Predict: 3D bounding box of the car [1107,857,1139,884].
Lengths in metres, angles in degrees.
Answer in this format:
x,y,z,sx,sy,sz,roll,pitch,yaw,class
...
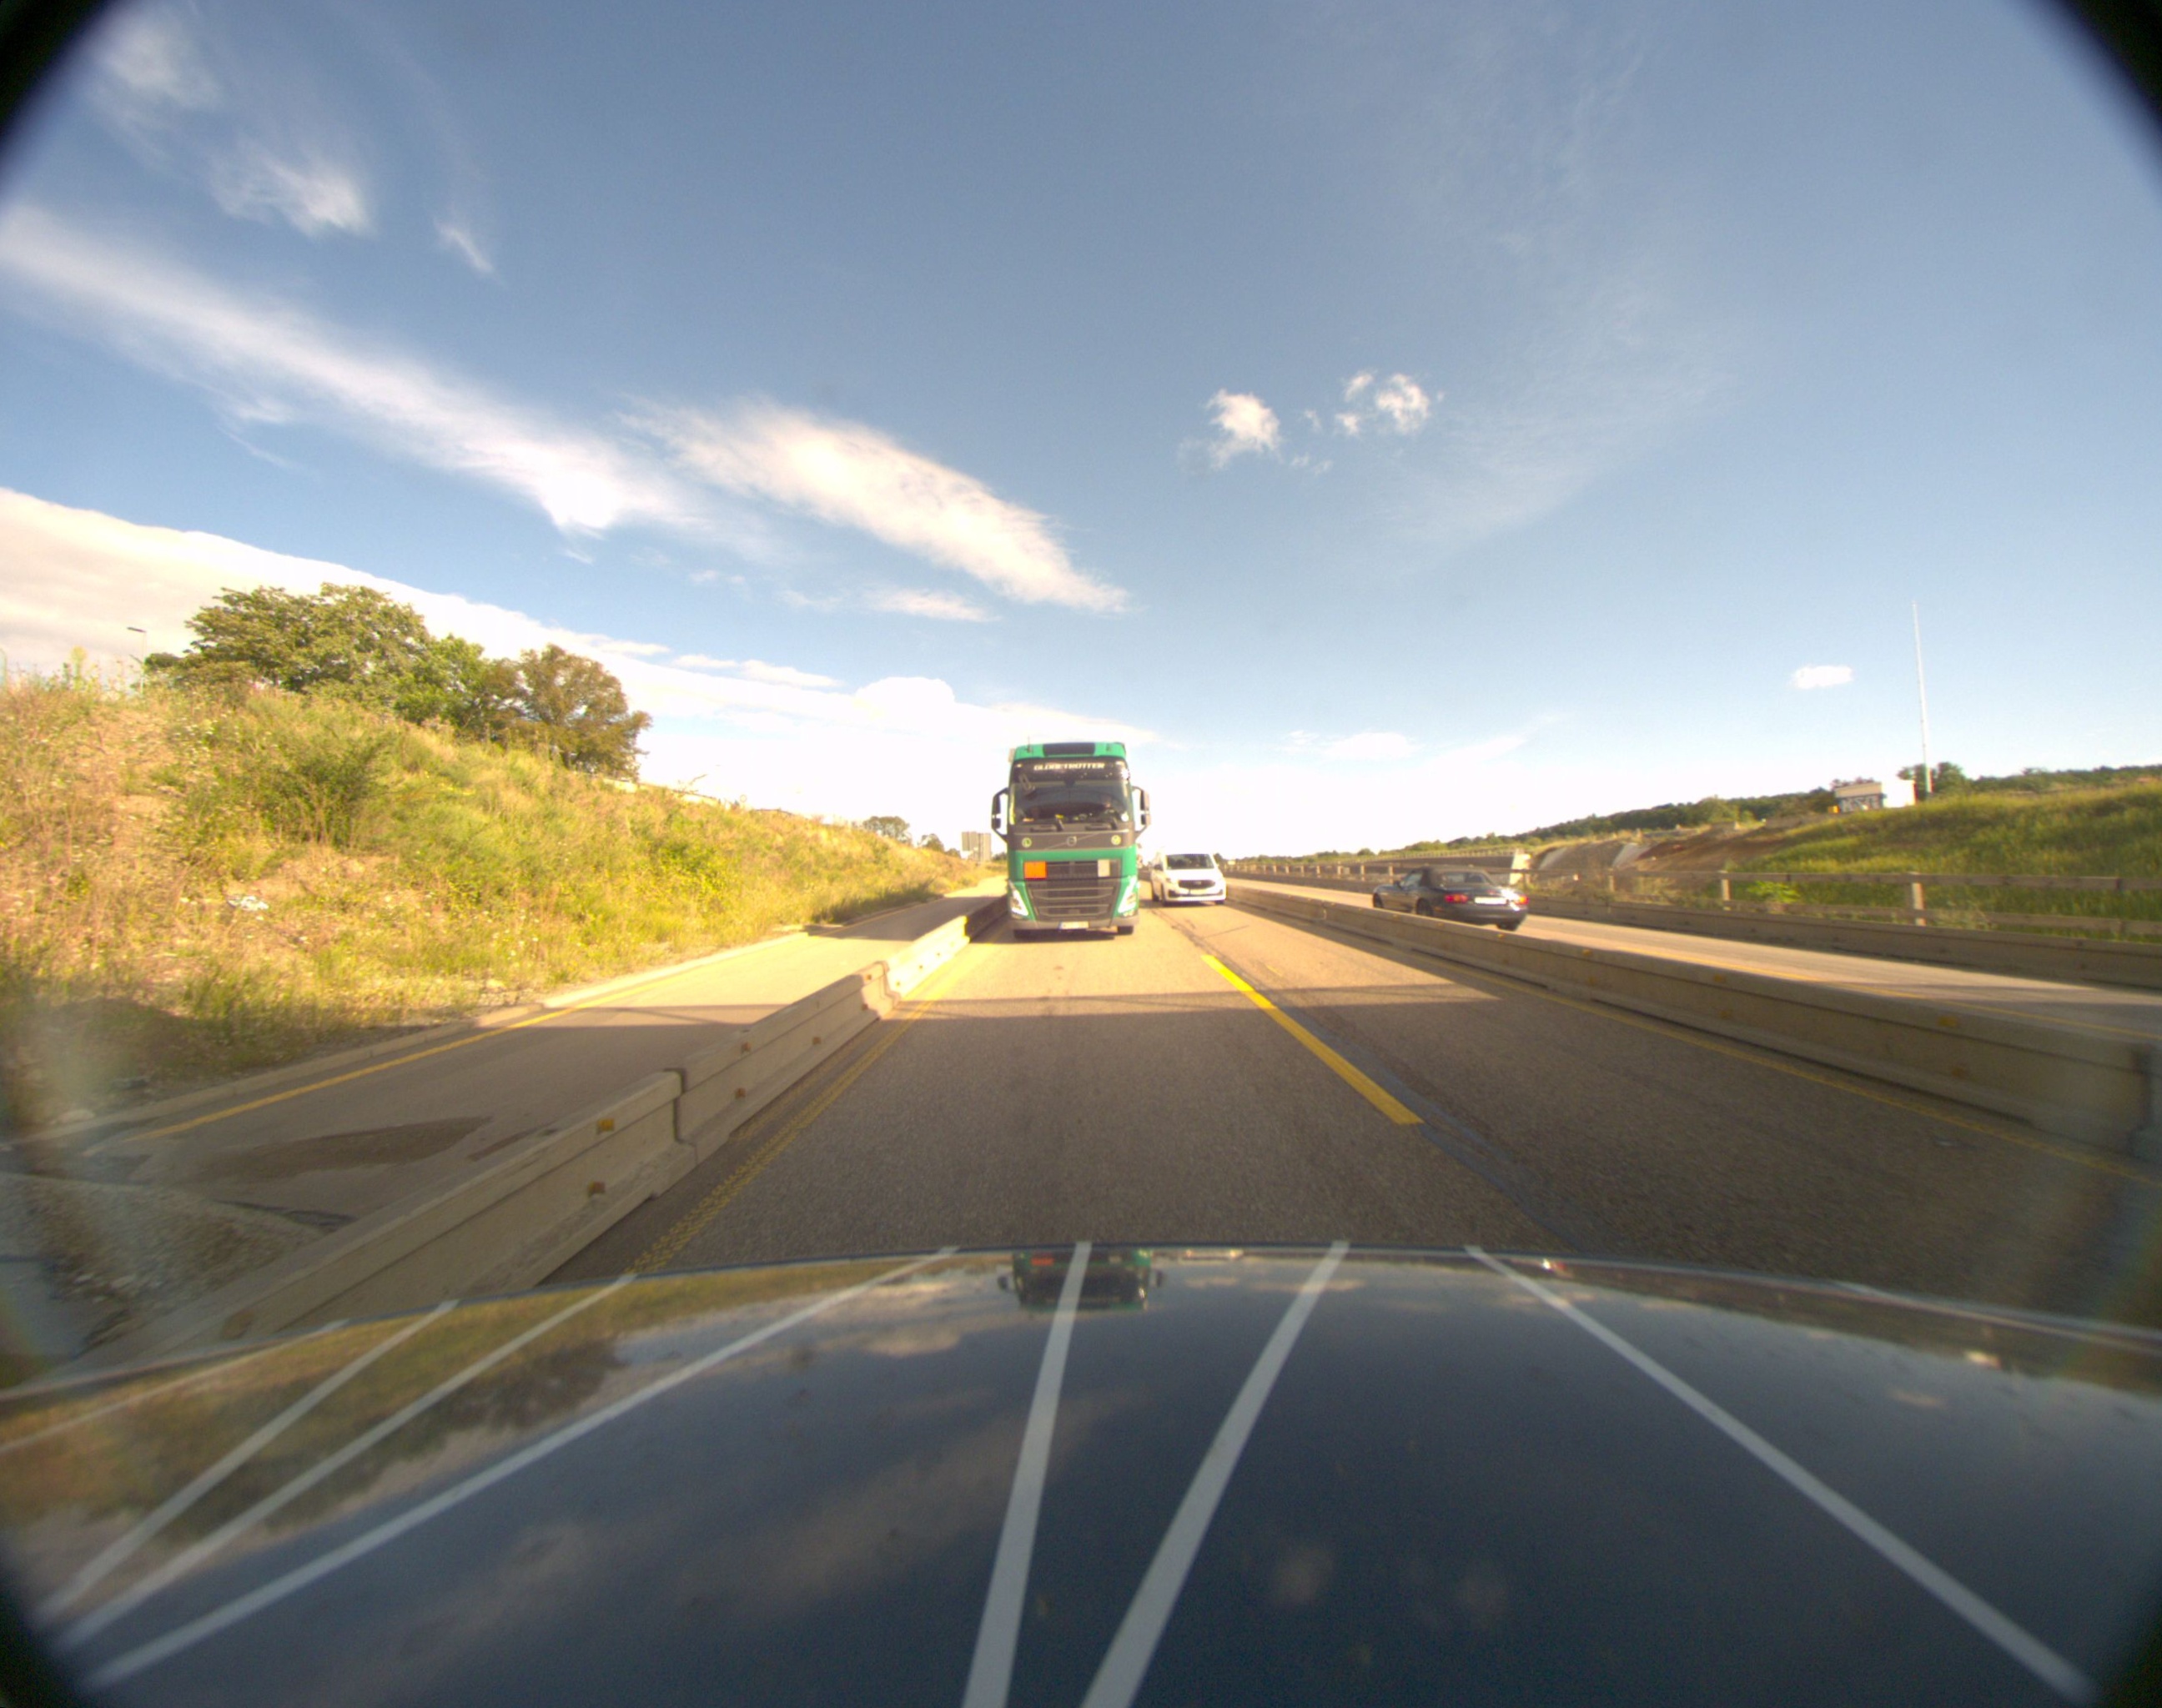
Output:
x,y,z,sx,sy,sz,roll,pitch,yaw,class
2.559,1.004,47.093,1.719,1.499,3.999,-2,0,0,car

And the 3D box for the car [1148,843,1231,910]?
x,y,z,sx,sy,sz,roll,pitch,yaw,class
3.270,0.643,23.772,1.828,1.813,4.455,-3,0,-1,car

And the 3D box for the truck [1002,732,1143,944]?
x,y,z,sx,sy,sz,roll,pitch,yaw,class
-0.222,-0.321,18.384,2.546,3.899,8.278,-2,0,-1,truck

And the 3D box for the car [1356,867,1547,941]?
x,y,z,sx,sy,sz,roll,pitch,yaw,class
6.938,0.867,14.787,1.673,1.149,4.218,1,0,1,car
